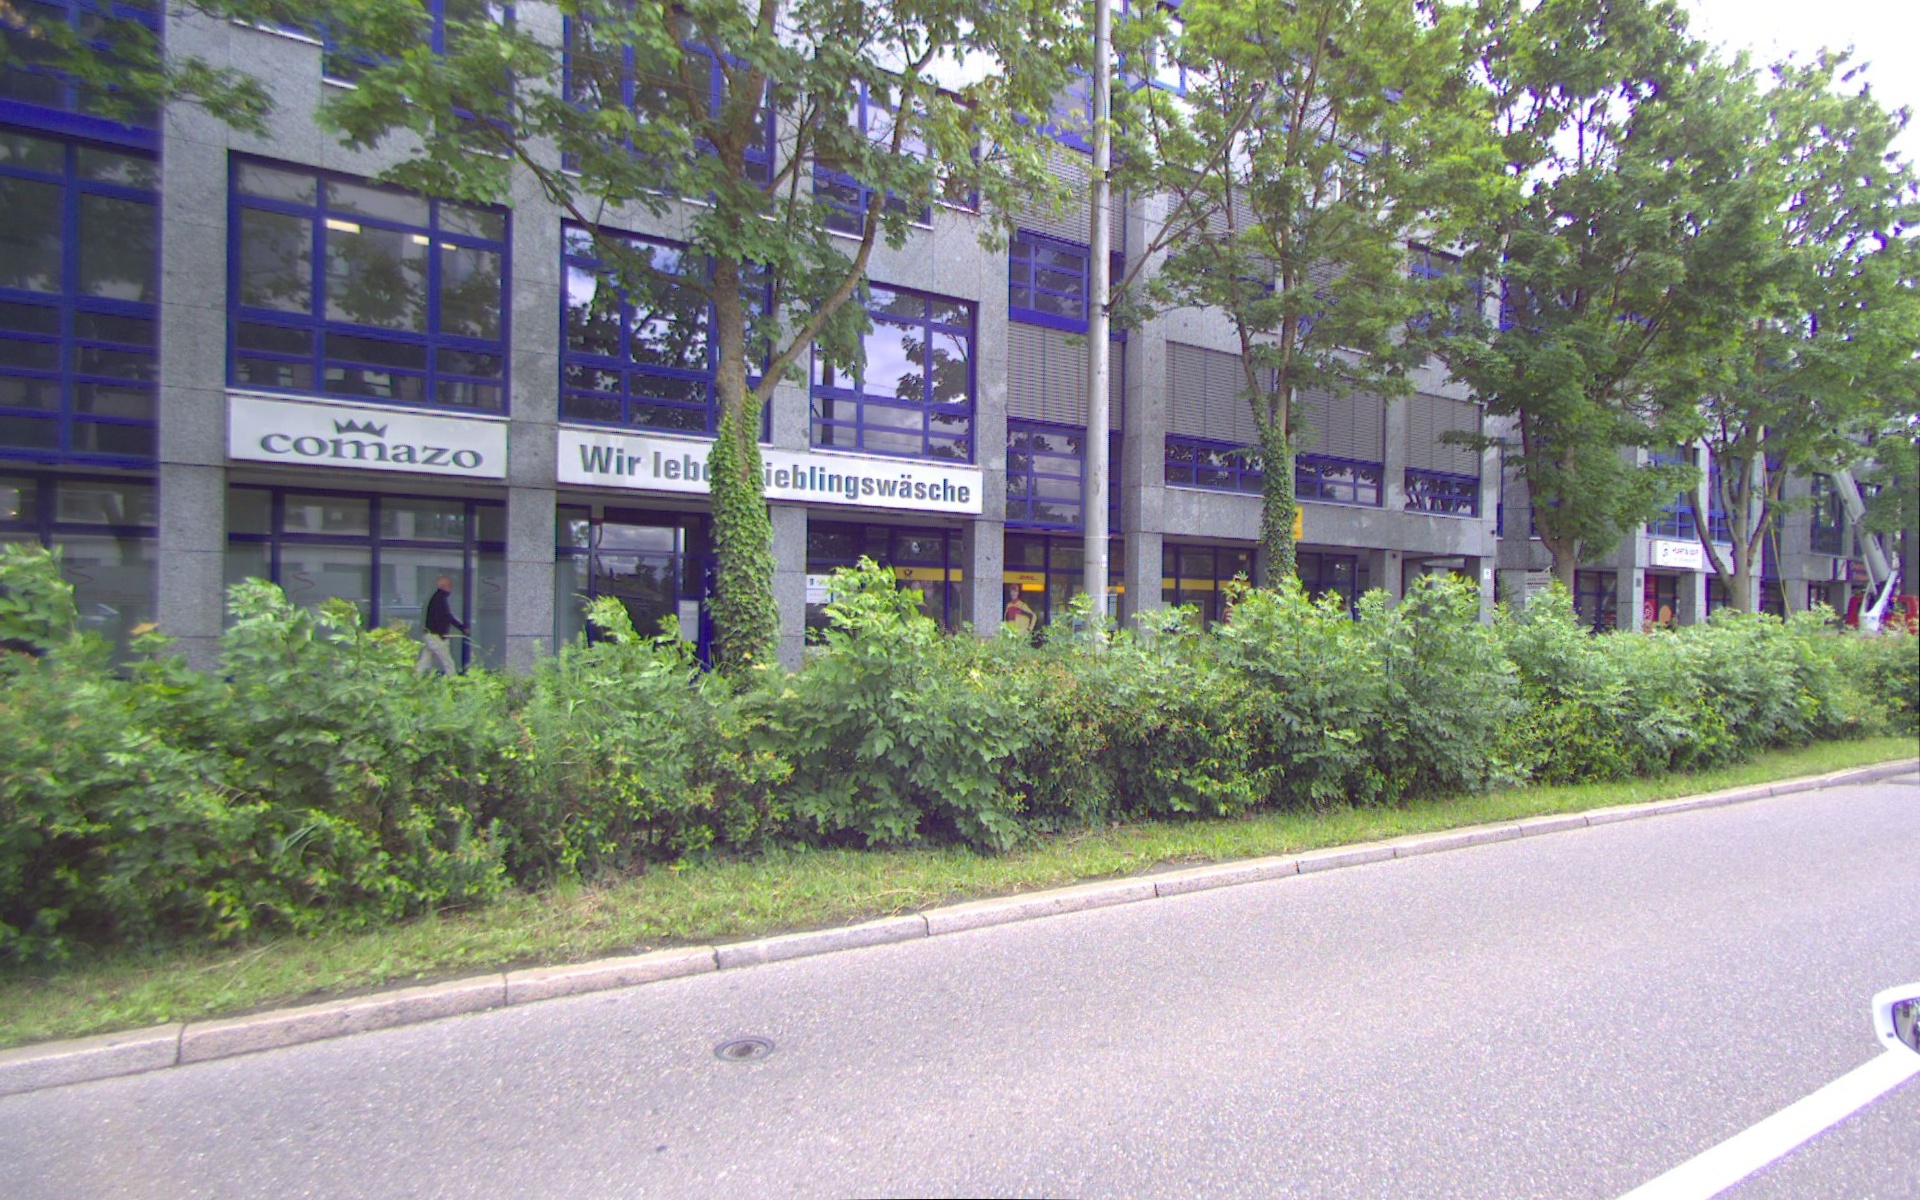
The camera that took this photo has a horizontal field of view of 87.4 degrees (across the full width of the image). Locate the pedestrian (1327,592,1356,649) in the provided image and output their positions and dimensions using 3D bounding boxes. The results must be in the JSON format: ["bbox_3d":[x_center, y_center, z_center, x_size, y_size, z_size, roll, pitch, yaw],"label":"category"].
[{"bbox_3d":[9.398,0.499,24.760,0.552,1.352,0.362,0,3,-35],"label":"pedestrian"}]

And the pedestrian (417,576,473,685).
[{"bbox_3d":[-7.347,0.417,14.322,0.671,1.502,0.694,1,1,-30],"label":"pedestrian"}]

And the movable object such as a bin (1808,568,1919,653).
[{"bbox_3d":[29.620,0.325,32.612,4.079,2.566,1.895,1,2,-31],"label":"movable object such as a bin"}]
